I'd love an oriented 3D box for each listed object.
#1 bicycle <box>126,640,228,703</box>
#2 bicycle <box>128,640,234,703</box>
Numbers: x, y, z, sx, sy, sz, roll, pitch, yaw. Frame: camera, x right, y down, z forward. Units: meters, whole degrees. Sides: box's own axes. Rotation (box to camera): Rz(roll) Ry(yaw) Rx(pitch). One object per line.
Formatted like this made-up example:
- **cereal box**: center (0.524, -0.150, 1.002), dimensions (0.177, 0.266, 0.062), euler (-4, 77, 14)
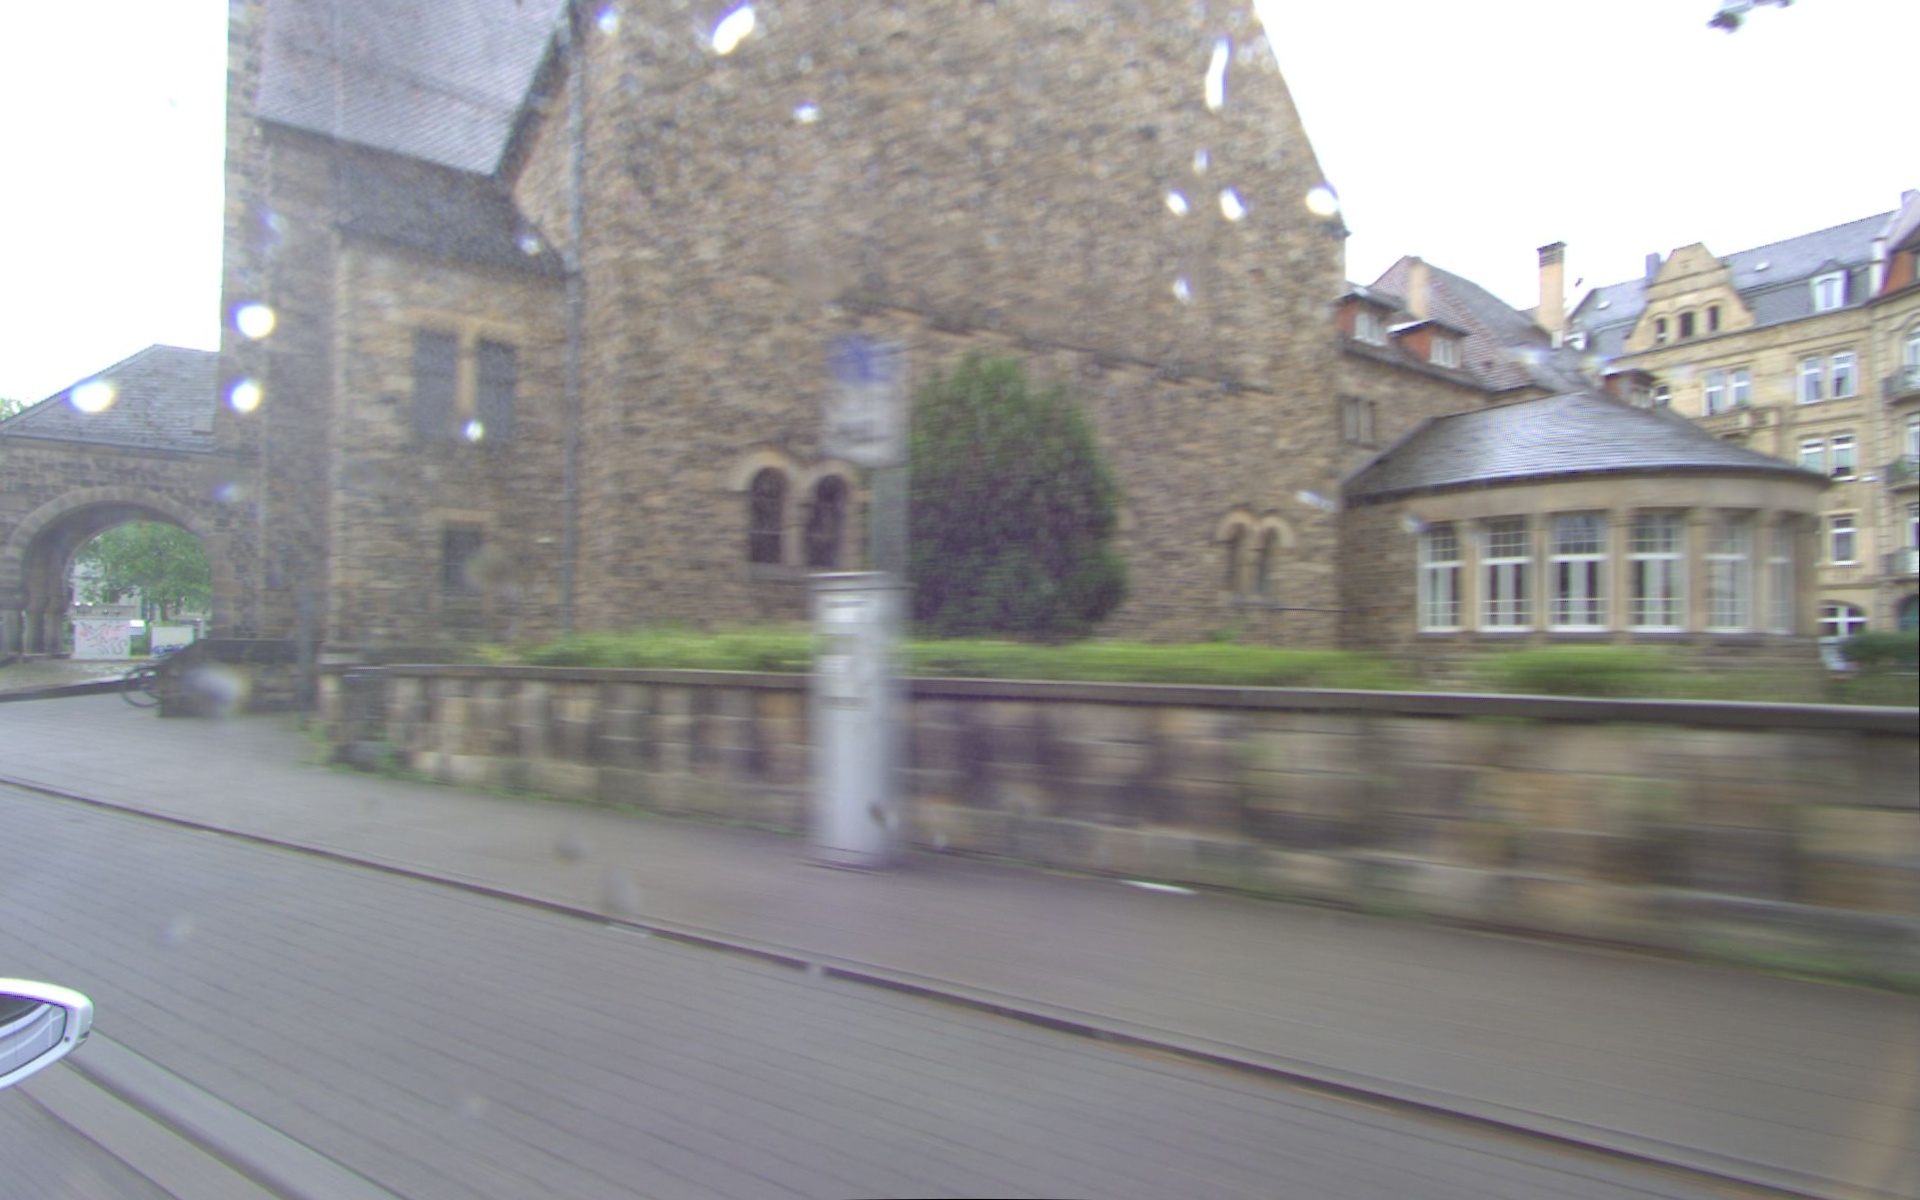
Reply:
- **bicycle**: center (-14.483, 1.304, 18.559), dimensions (1.474, 1.116, 0.360), euler (1, -1, -38)
- **bicycle**: center (-14.184, 1.281, 18.275), dimensions (1.510, 1.116, 0.360), euler (1, -1, -38)
